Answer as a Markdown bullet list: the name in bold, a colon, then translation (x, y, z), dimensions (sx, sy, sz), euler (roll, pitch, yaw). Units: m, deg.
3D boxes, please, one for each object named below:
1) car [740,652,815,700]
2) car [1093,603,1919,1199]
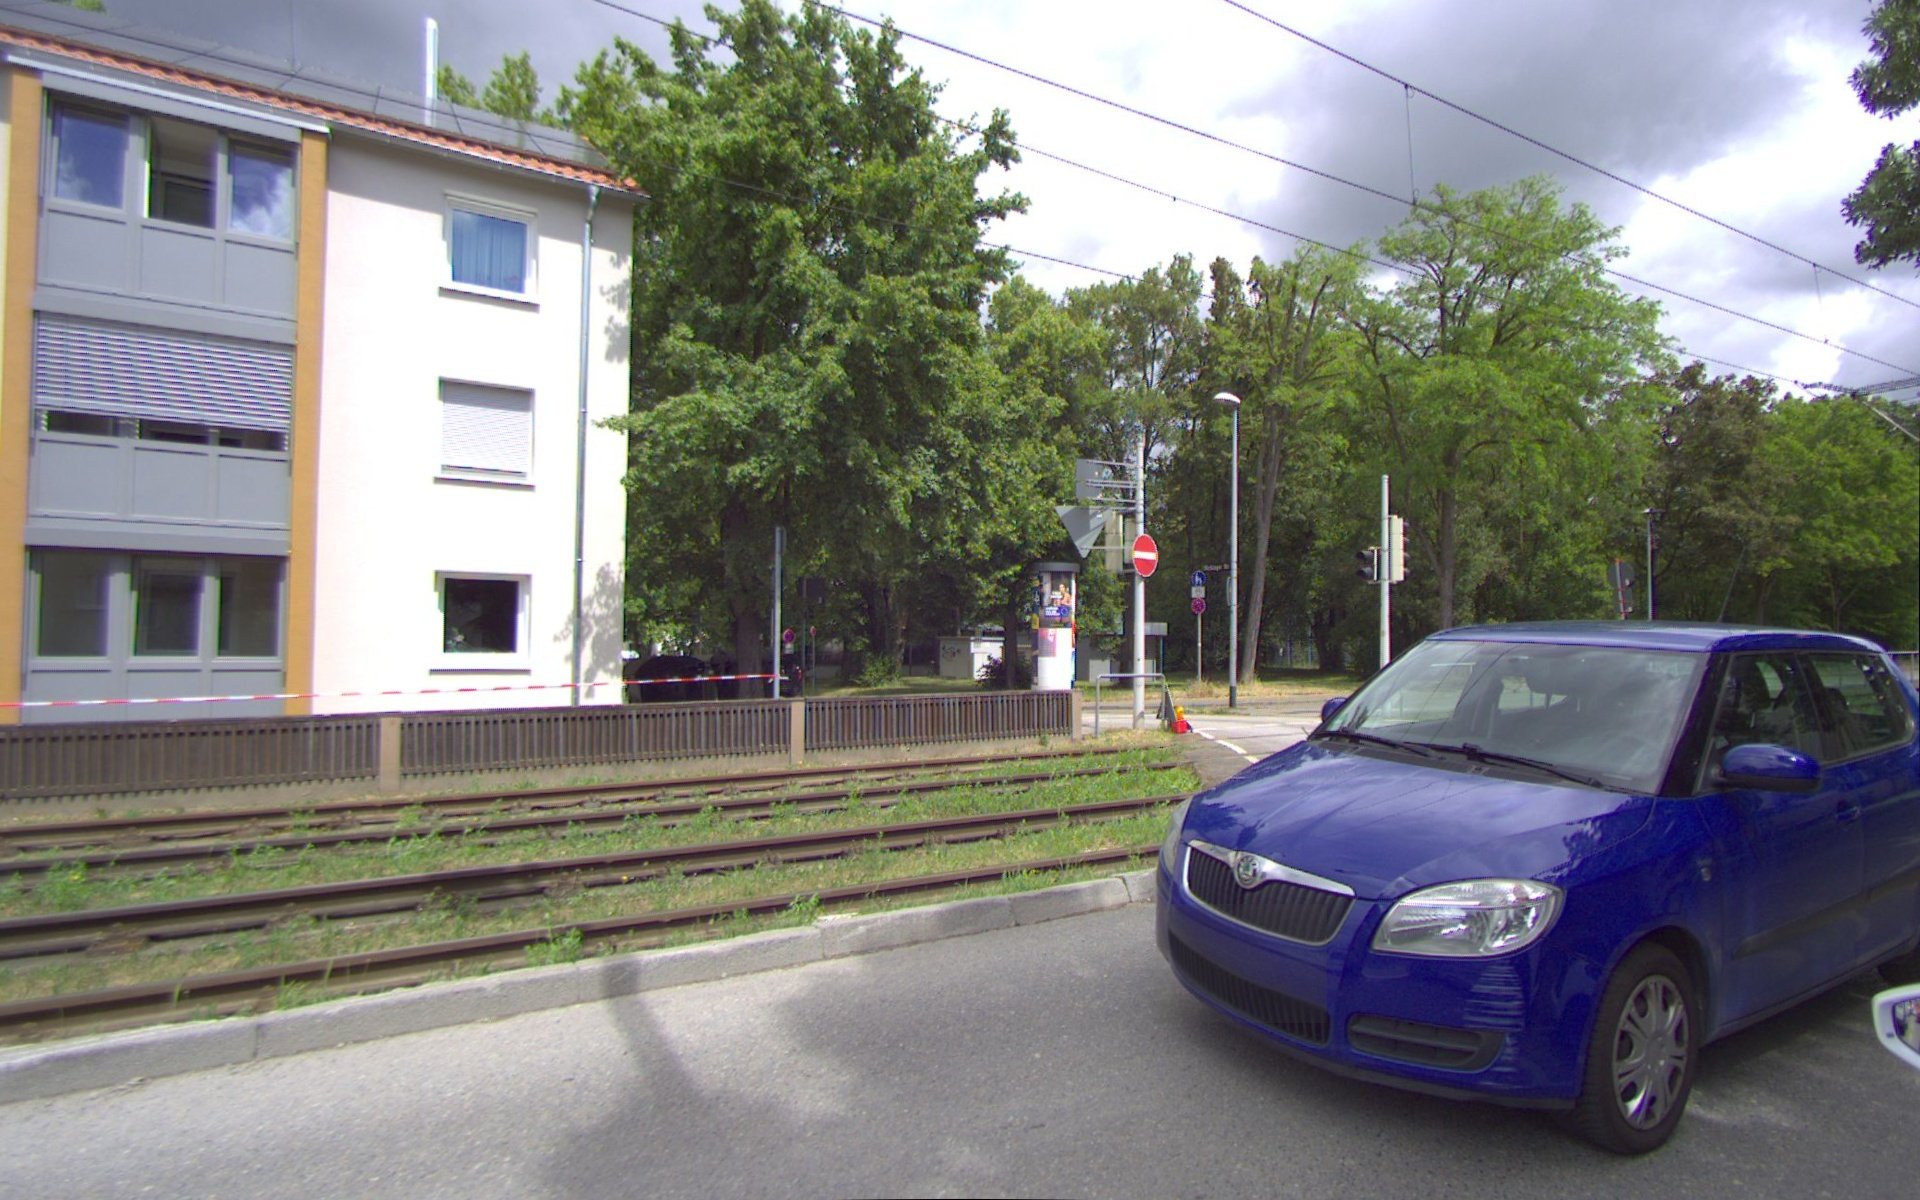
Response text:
- **car**: translation (-7.692, 3.174, 42.084), dimensions (1.976, 1.882, 3.972), euler (2, -4, -28)
- **car**: translation (2.507, 0.805, 4.019), dimensions (3.763, 1.505, 1.573), euler (1, 0, -31)
